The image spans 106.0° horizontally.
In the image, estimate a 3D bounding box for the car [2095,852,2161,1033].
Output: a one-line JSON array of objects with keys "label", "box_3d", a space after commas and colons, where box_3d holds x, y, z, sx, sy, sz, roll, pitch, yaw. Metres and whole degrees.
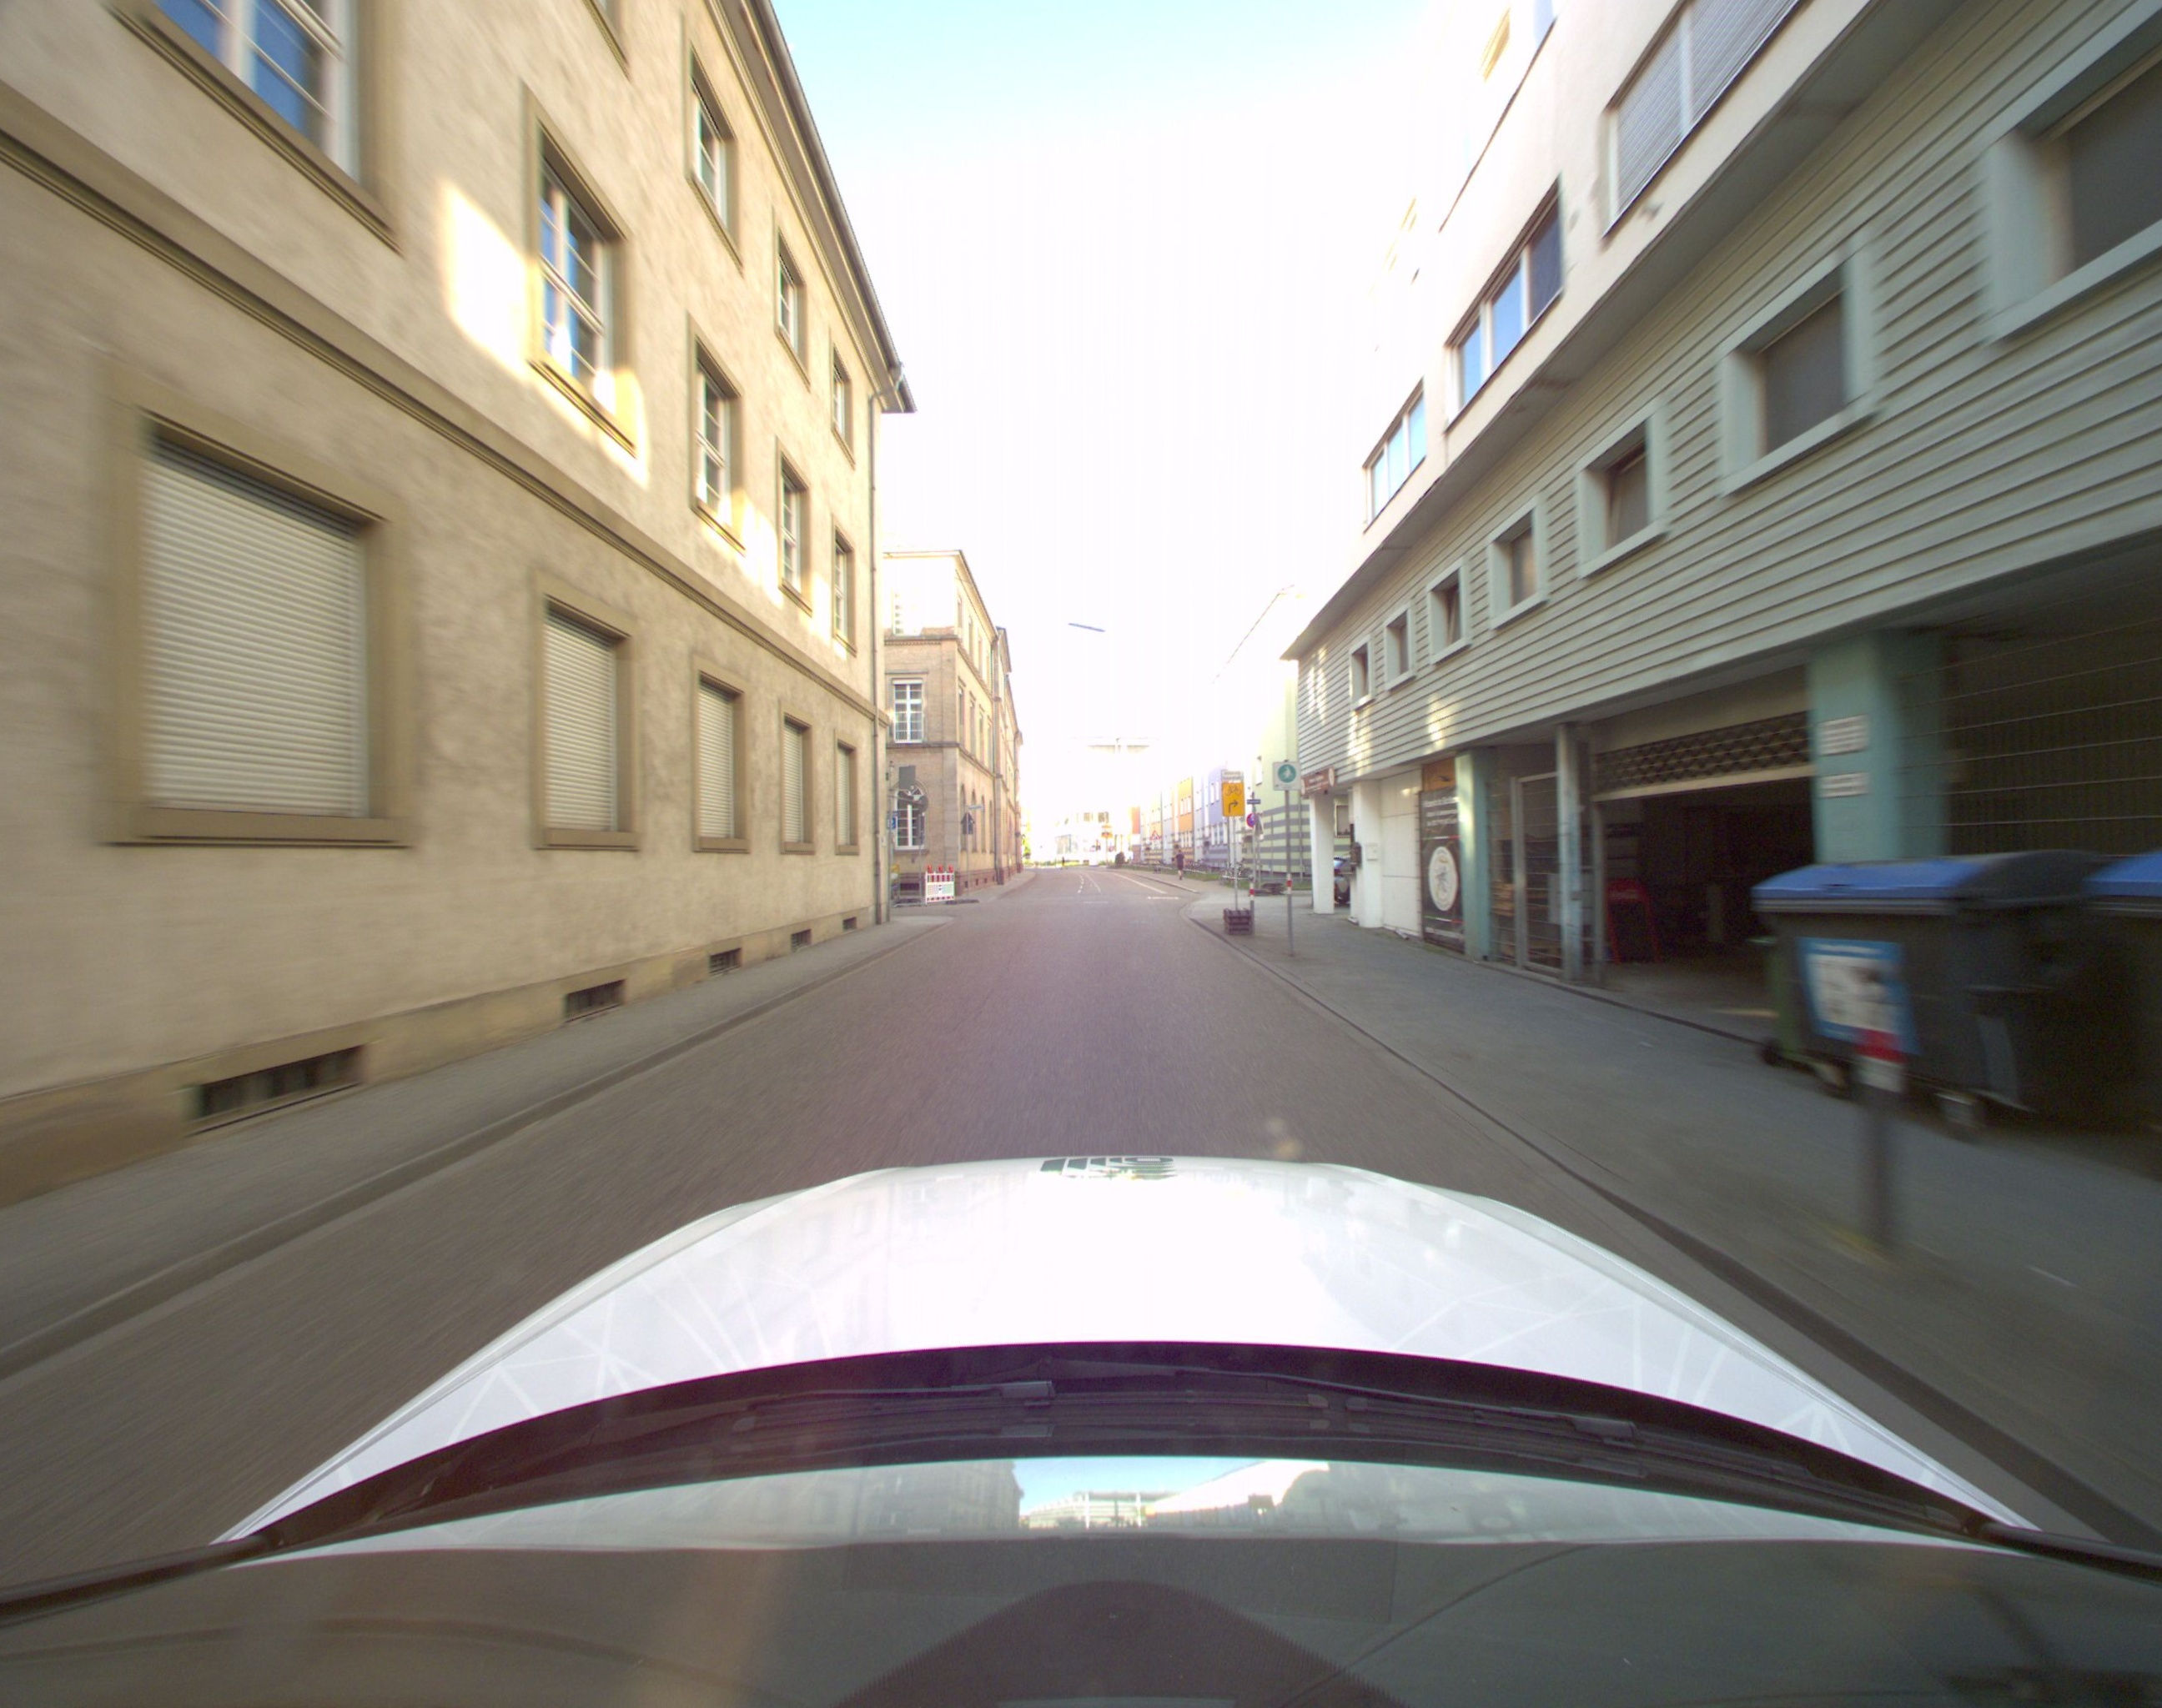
[{"label": "car", "box_3d": [9.620, 0.637, 4.799, 1.823, 1.433, 4.276, -3, -1, -2]}]

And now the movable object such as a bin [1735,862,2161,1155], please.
[{"label": "movable object such as a bin", "box_3d": [4.811, 0.778, 4.672, 0.977, 1.385, 1.321, -3, -2, 1]}]

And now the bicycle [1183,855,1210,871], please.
[{"label": "bicycle", "box_3d": [7.764, 0.597, 54.589, 1.743, 0.946, 0.325, -3, 0, -1]}]

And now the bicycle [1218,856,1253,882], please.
[{"label": "bicycle", "box_3d": [7.661, 0.746, 40.379, 1.640, 1.141, 0.282, -5, 1, -10]}]

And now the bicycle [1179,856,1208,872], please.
[{"label": "bicycle", "box_3d": [7.300, 0.660, 52.885, 1.743, 0.946, 0.551, -3, 0, -1]}]

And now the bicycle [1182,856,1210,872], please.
[{"label": "bicycle", "box_3d": [7.612, 0.639, 53.749, 1.743, 0.946, 0.551, -3, 0, -1]}]

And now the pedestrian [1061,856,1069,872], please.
[{"label": "pedestrian", "box_3d": [-2.010, 1.276, 101.927, 0.895, 2.013, 0.751, -2, 0, -9]}]

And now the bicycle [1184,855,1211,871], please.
[{"label": "bicycle", "box_3d": [7.875, 0.608, 55.112, 1.743, 0.946, 0.335, -3, 0, -2]}]

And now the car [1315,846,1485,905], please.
[{"label": "car", "box_3d": [8.991, 0.572, 23.186, 4.066, 1.482, 1.865, -2, 0, -1]}]

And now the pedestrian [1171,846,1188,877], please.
[{"label": "pedestrian", "box_3d": [5.774, 0.440, 47.660, 0.694, 1.760, 1.188, -4, 0, -1]}]

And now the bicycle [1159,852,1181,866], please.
[{"label": "bicycle", "box_3d": [7.600, 0.418, 69.631, 1.806, 1.137, 0.551, -2, 0, -3]}]

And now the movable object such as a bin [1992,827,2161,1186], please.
[{"label": "movable object such as a bin", "box_3d": [4.916, 0.601, 3.136, 0.977, 1.480, 1.552, -3, -2, 2]}]

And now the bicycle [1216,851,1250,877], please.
[{"label": "bicycle", "box_3d": [7.609, 0.497, 40.640, 1.602, 1.141, 0.236, -5, 1, -10]}]

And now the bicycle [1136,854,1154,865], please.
[{"label": "bicycle", "box_3d": [6.612, 0.570, 83.772, 1.751, 1.004, 0.612, -3, 0, -6]}]

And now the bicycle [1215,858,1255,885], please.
[{"label": "bicycle", "box_3d": [7.379, 0.818, 38.978, 1.743, 1.141, 0.551, -5, 1, -1]}]

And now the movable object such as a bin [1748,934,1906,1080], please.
[{"label": "movable object such as a bin", "box_3d": [5.162, 1.039, 5.667, 0.554, 0.899, 0.523, -3, -2, 1]}]
